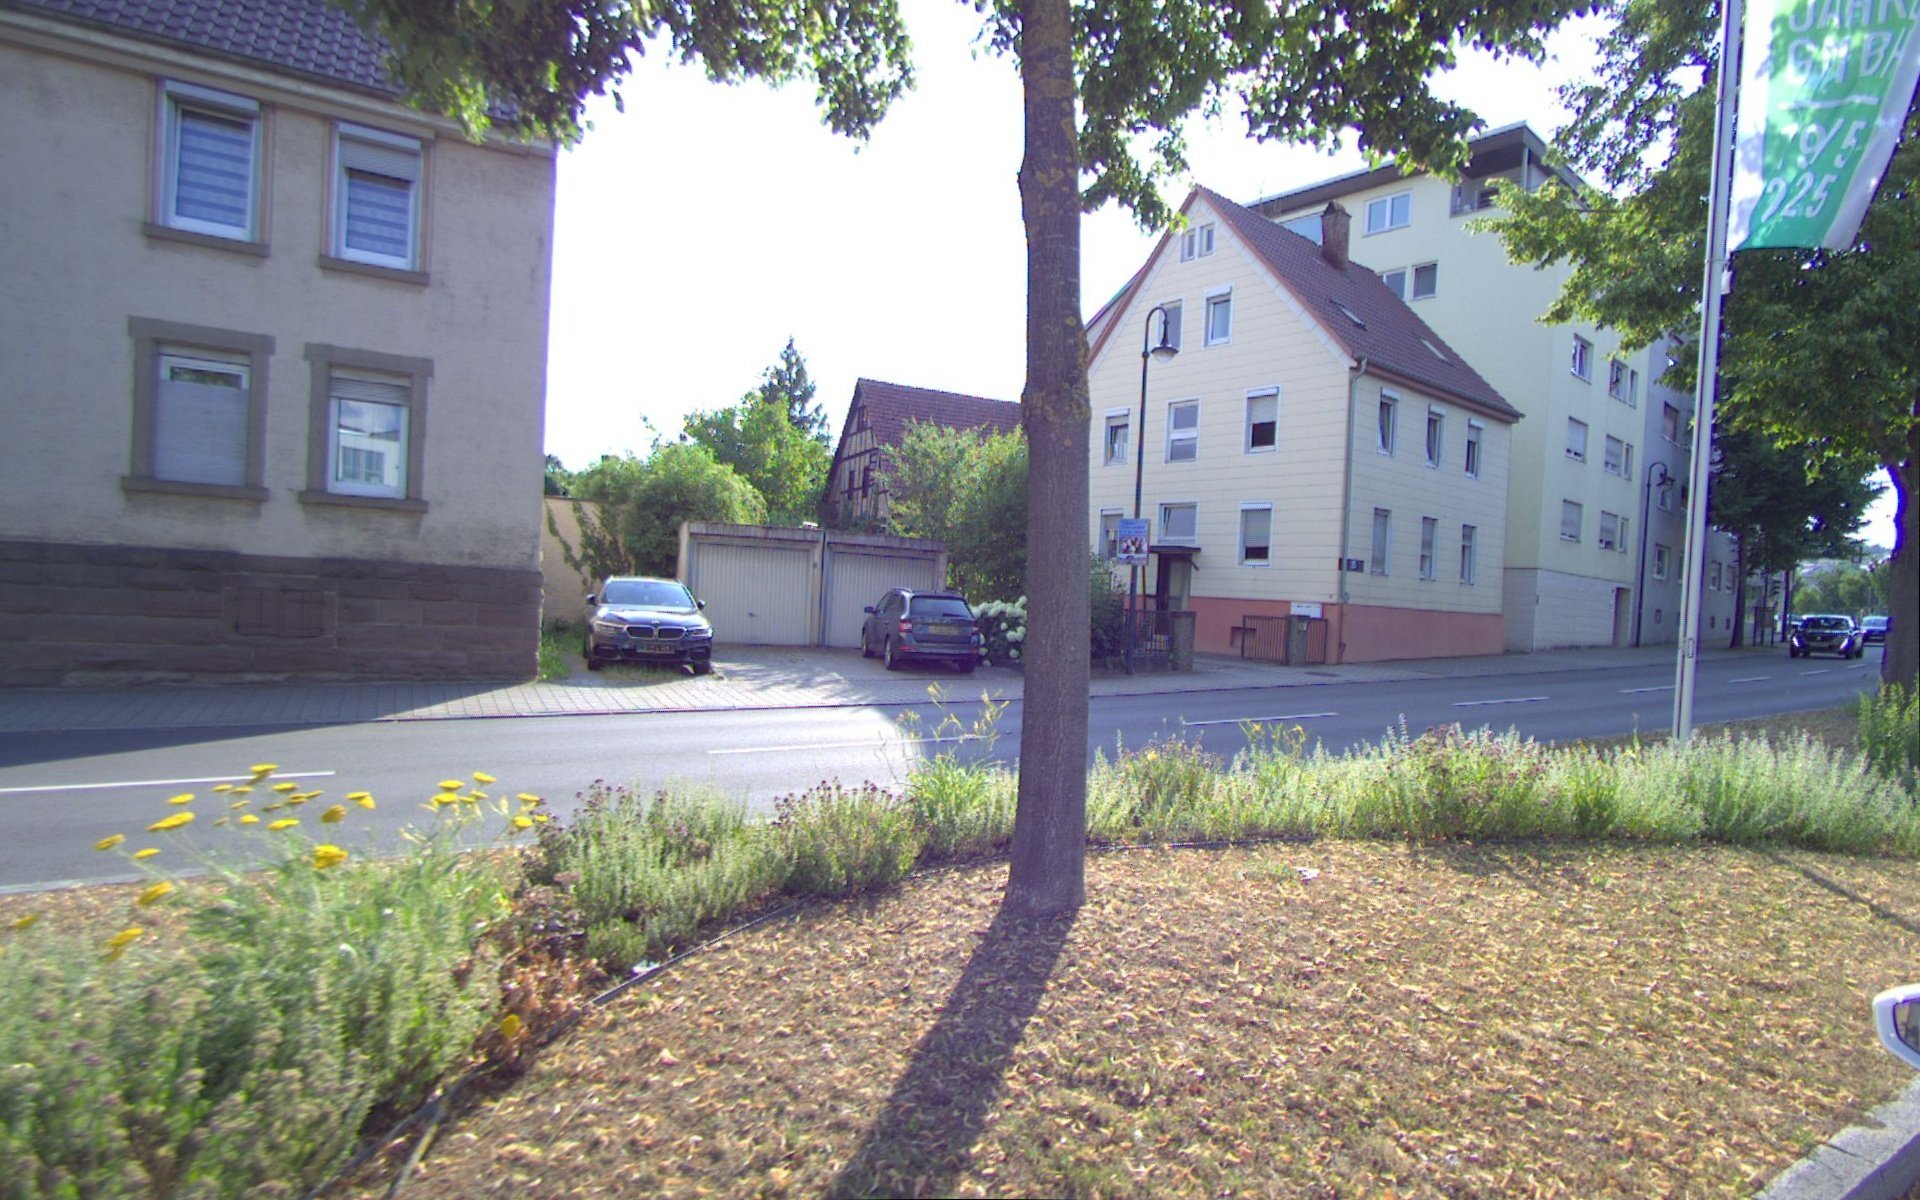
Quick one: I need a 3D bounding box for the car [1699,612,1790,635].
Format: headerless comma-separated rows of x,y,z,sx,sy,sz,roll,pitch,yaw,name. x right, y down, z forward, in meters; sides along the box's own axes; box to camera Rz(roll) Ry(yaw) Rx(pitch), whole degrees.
54.129,1.607,69.358,4.807,1.456,1.906,1,0,44,car

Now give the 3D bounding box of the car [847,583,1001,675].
-0.844,0.489,19.476,1.915,1.506,4.344,1,1,-17,car

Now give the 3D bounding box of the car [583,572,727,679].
-5.118,0.338,16.799,1.980,1.506,4.342,2,1,-18,car

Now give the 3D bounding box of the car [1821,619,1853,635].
110.961,3.385,127.118,2.185,1.792,4.445,2,0,31,car

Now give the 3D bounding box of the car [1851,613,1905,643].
48.226,1.460,52.757,3.752,1.506,1.592,1,0,-39,car

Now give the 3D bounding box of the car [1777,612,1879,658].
32.335,1.290,37.401,4.284,1.506,1.926,1,3,-37,car
